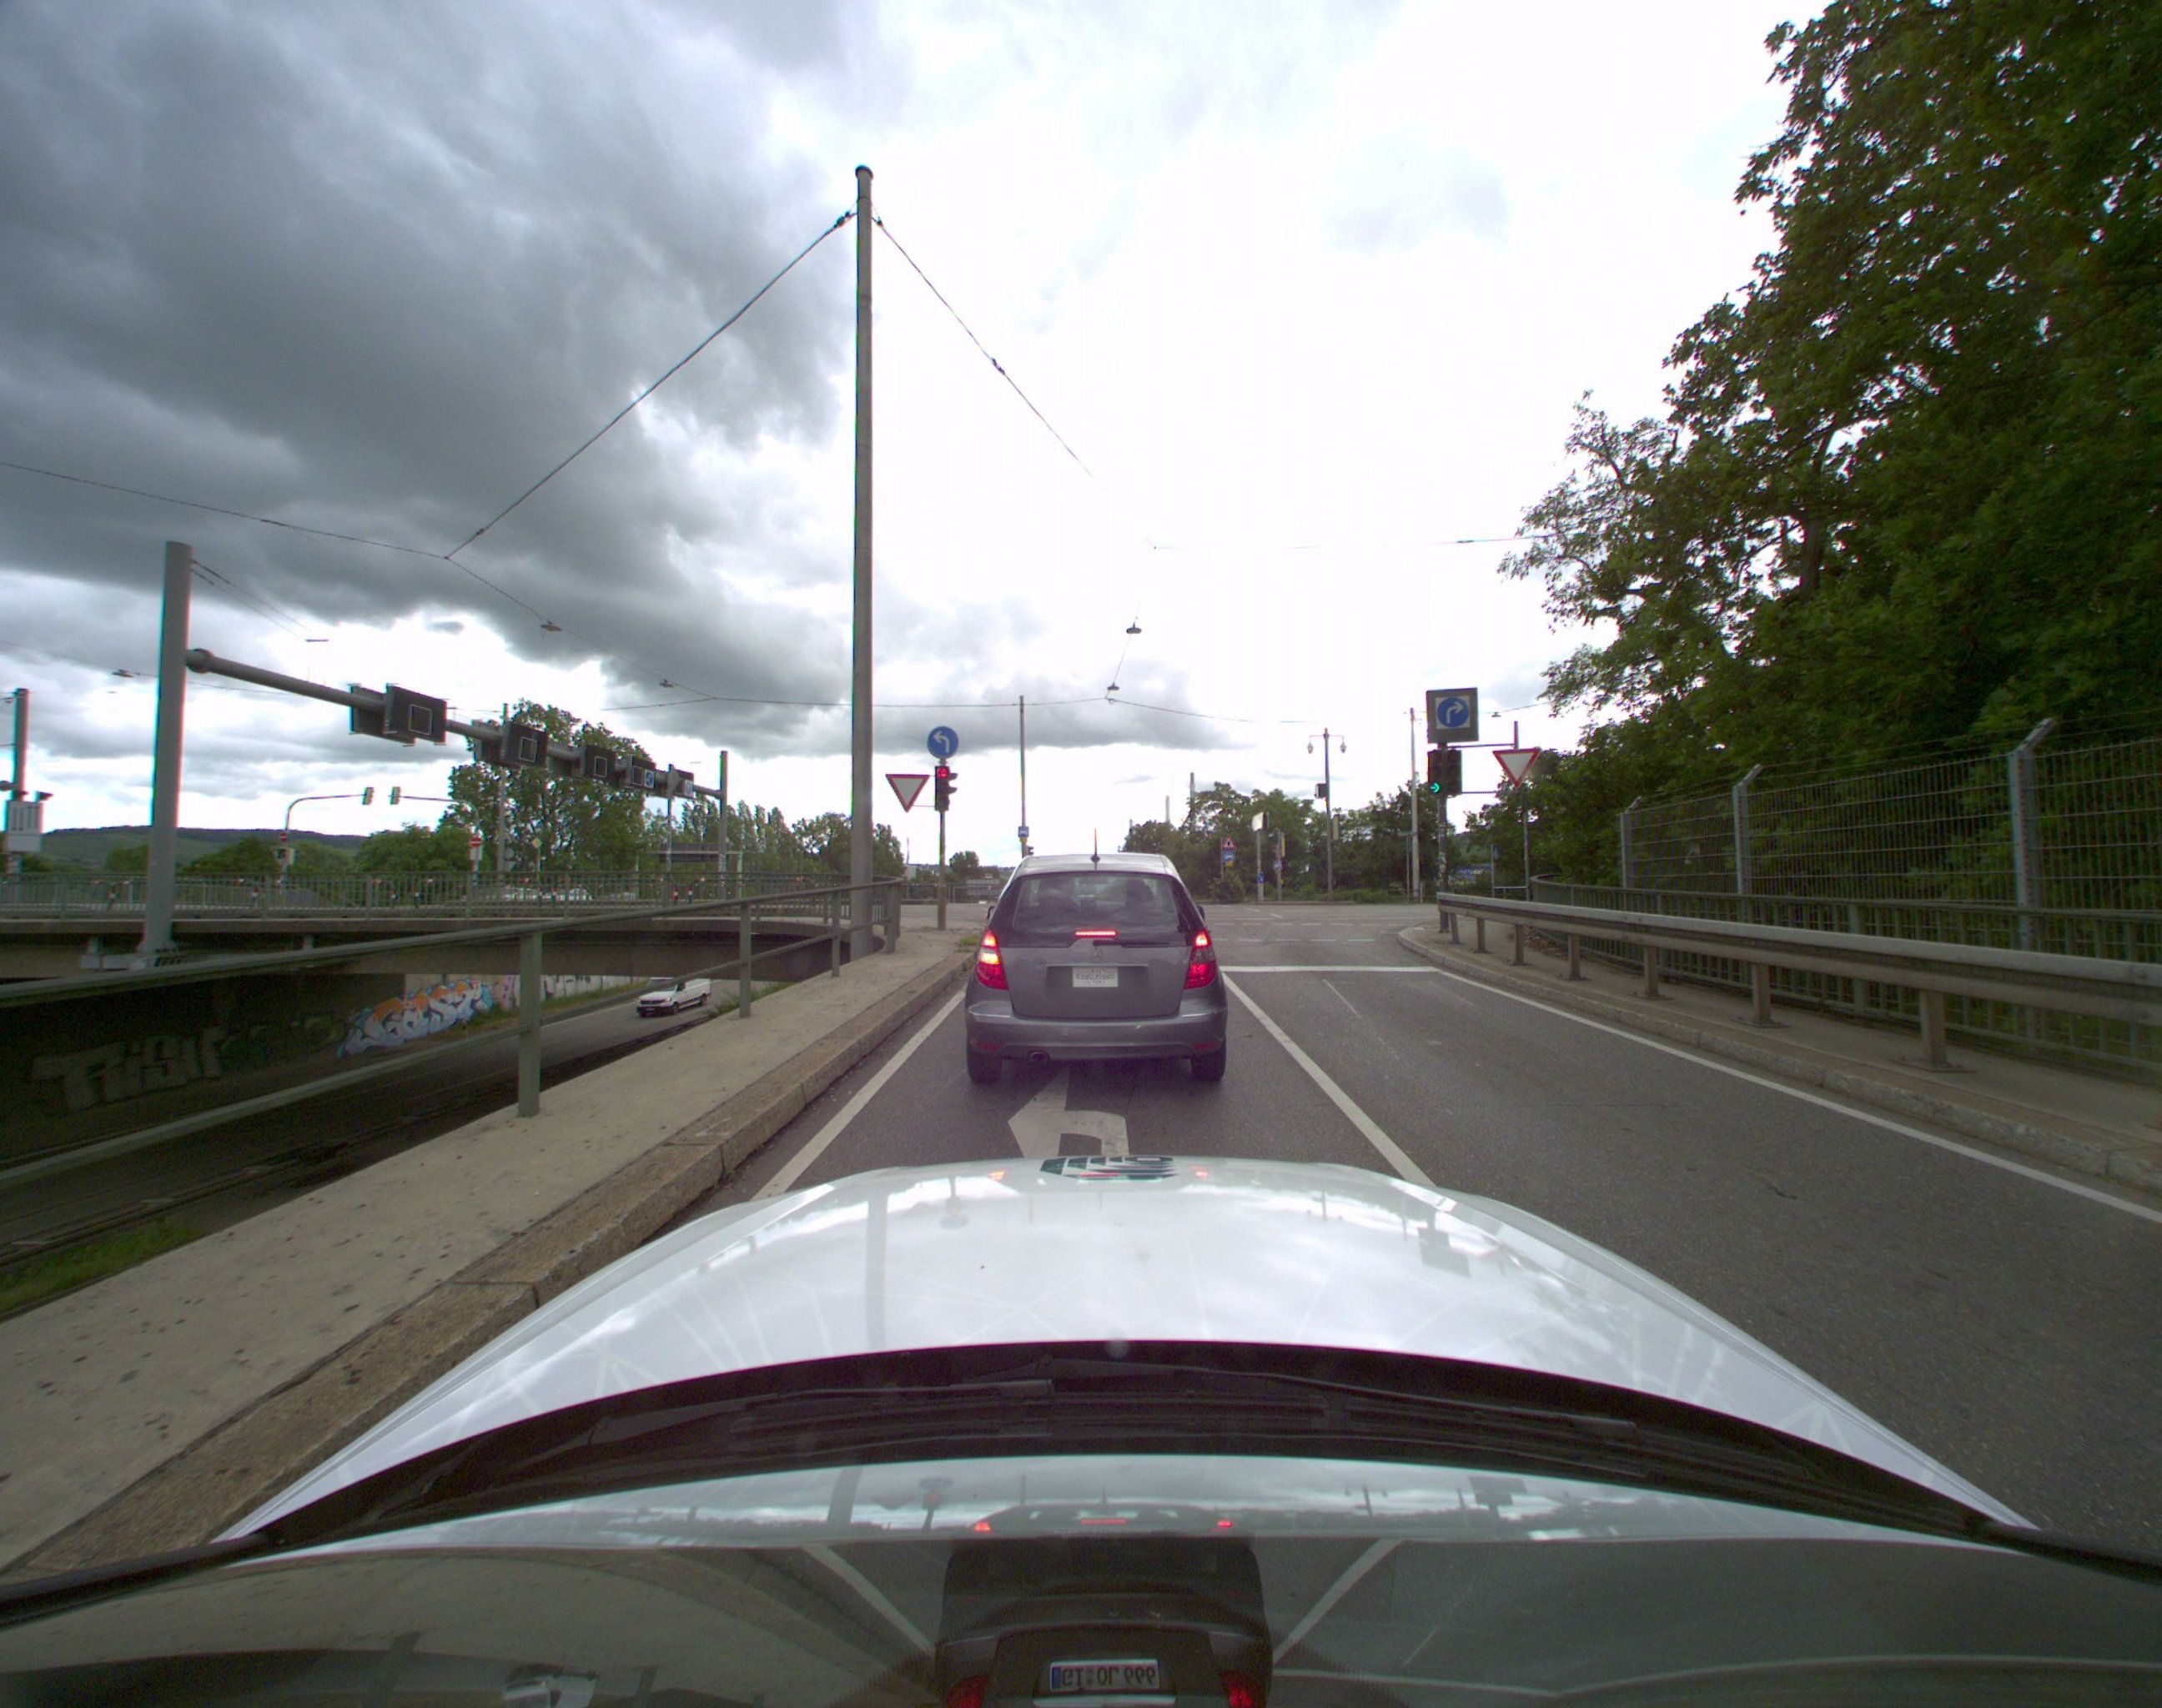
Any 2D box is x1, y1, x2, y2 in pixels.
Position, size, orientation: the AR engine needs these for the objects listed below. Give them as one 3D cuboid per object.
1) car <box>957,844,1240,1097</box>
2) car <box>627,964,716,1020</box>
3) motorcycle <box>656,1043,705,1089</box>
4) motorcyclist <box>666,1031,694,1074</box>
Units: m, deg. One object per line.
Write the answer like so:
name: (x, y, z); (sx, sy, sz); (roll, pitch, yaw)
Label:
car: (0.166, 0.732, 6.788); (1.733, 1.543, 3.542); (0, -1, 2)
car: (-24.774, 8.280, 49.587); (2.158, 2.595, 6.104); (-2, -3, 2)
motorcycle: (-14.405, 7.607, 29.356); (0.591, 1.203, 2.127); (-1, -3, 3)
motorcyclist: (-14.418, 7.128, 29.282); (0.591, 1.372, 0.762); (-1, -3, 3)
